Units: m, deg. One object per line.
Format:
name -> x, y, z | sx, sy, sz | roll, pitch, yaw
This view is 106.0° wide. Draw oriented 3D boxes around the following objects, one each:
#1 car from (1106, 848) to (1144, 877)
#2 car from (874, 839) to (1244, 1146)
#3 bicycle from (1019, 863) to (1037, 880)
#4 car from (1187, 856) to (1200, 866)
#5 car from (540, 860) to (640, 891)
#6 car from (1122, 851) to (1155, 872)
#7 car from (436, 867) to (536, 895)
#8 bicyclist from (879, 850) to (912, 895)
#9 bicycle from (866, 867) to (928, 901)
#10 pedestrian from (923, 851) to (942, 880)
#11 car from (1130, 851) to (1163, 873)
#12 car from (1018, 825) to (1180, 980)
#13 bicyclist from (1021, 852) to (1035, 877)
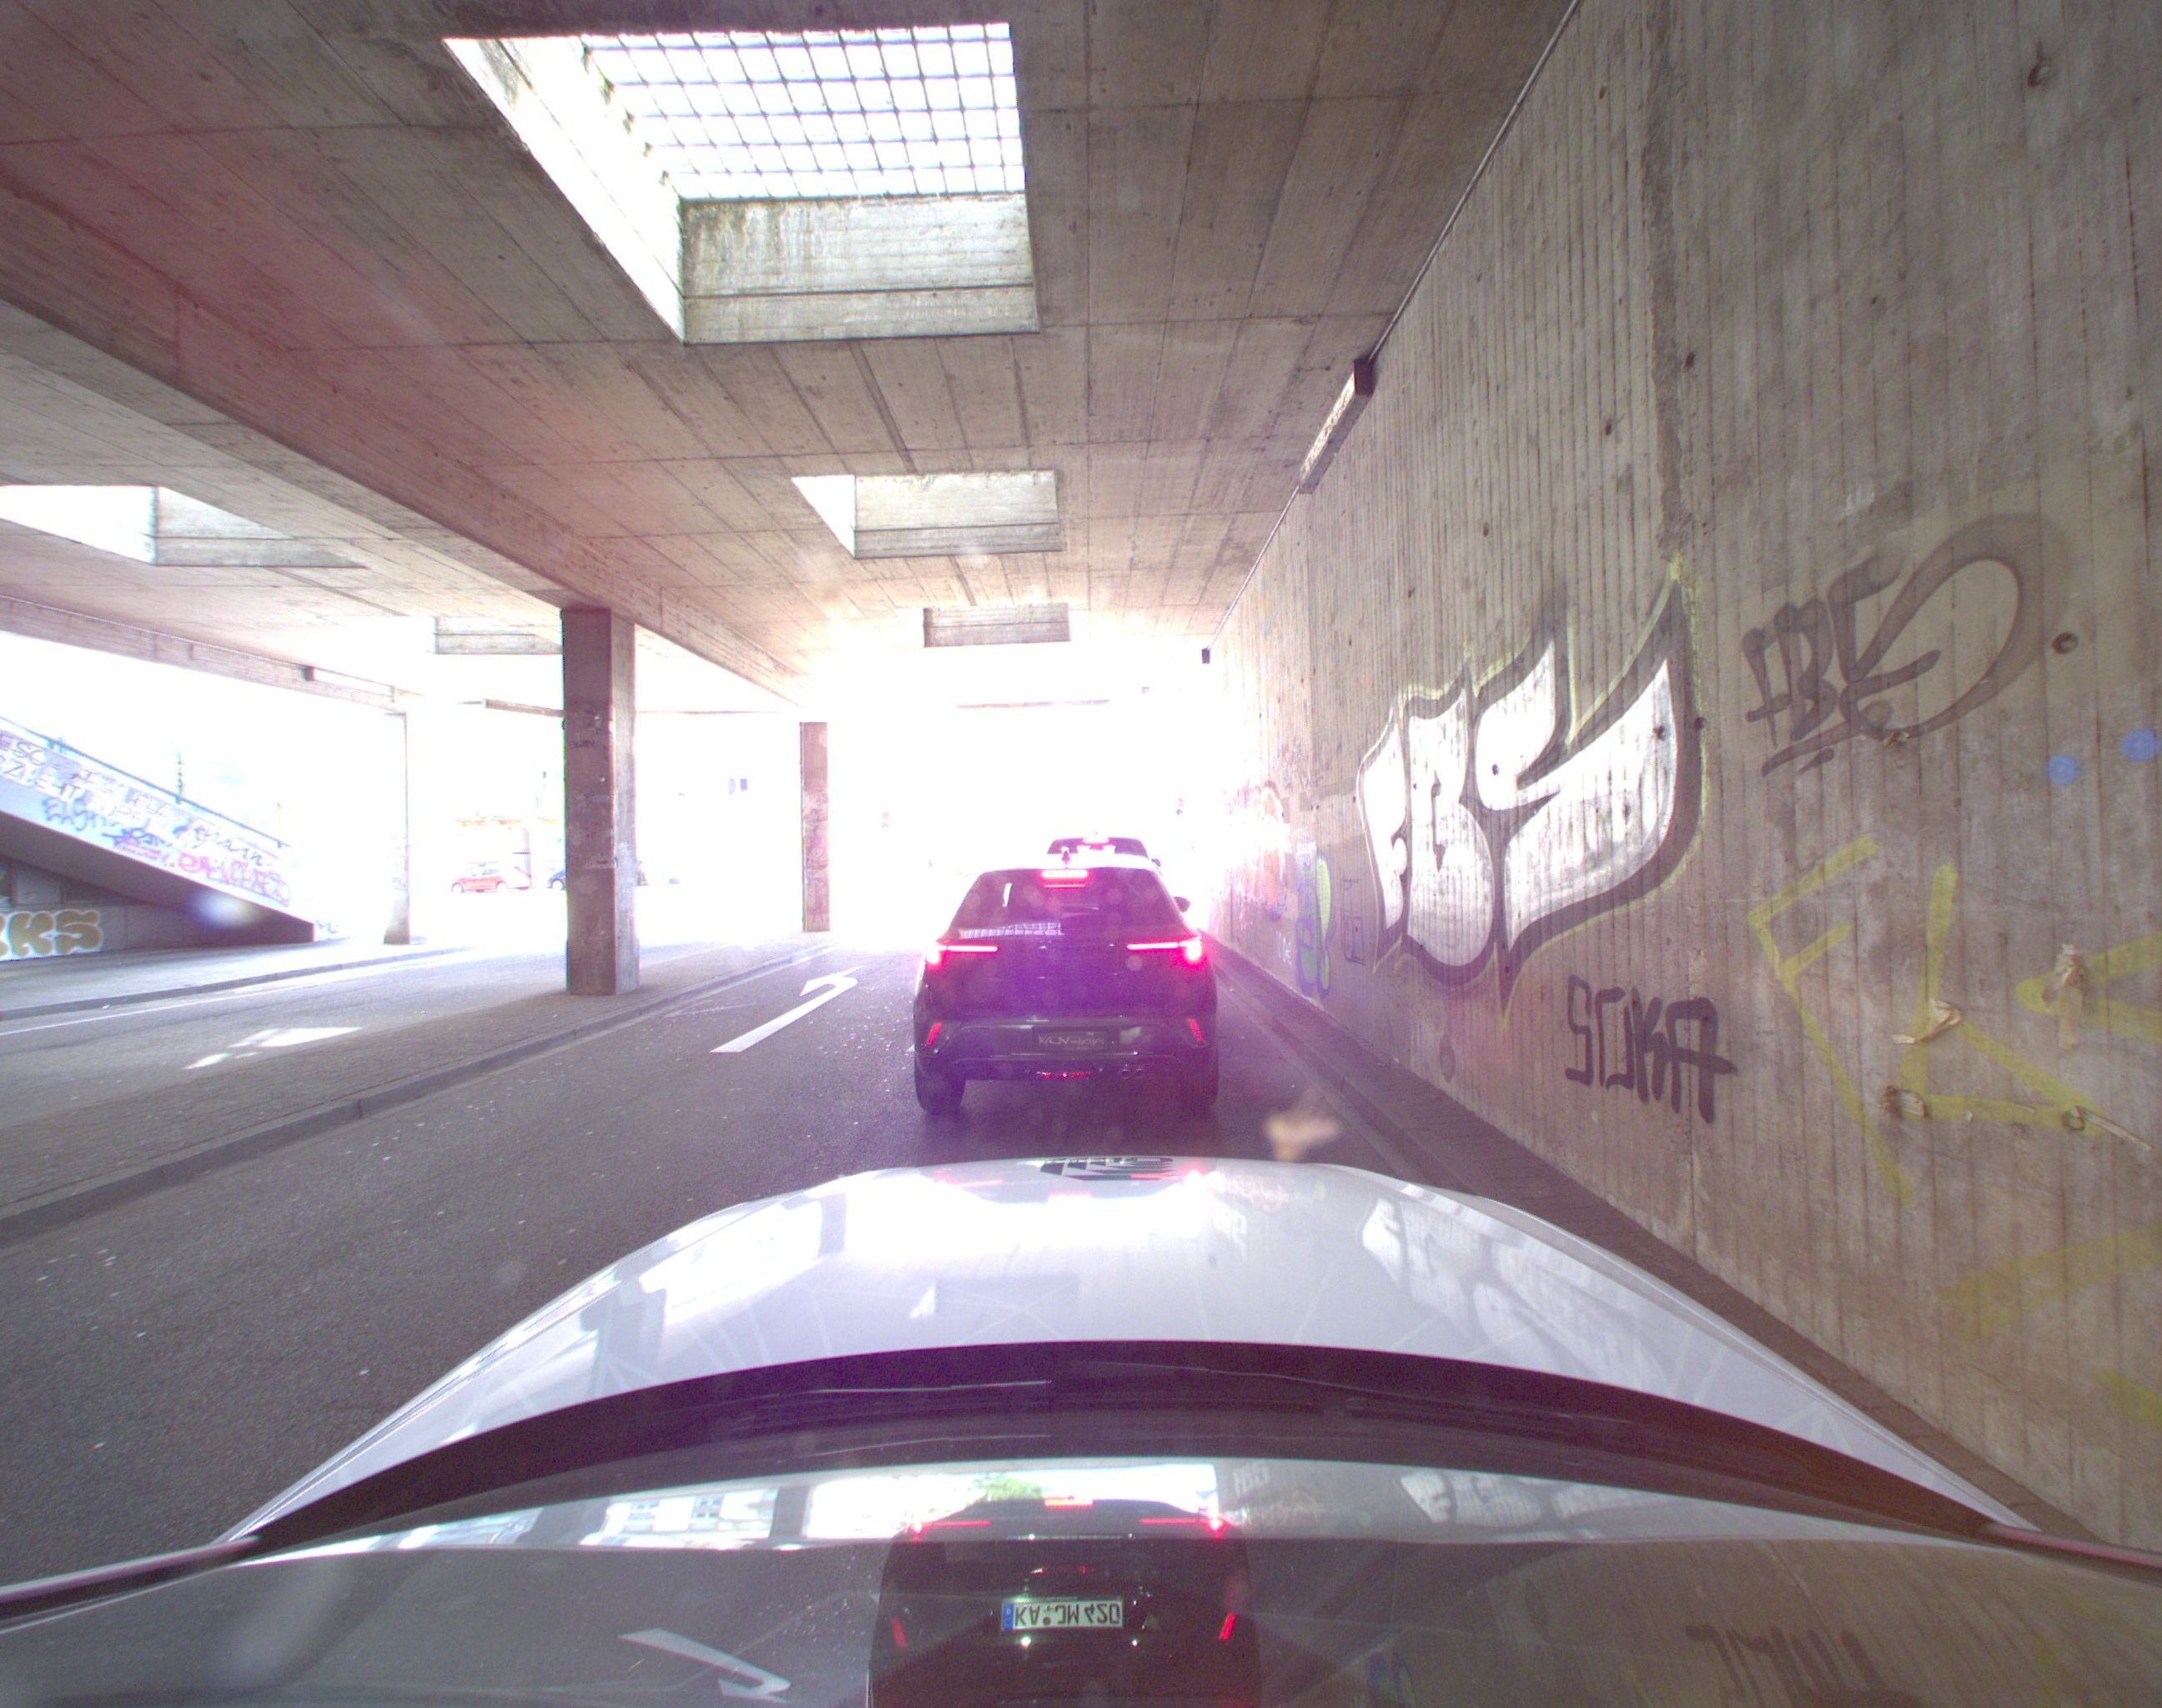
car -> 2.413, 0.500, 44.275 | 1.959, 1.497, 3.900 | -2, -2, 4
car -> -0.053, 0.715, 6.197 | 1.875, 1.538, 3.966 | -2, 0, 2
bicycle -> -3.382, 1.104, 51.754 | 0.727, 1.067, 1.694 | -1, -1, 11
car -> 18.976, 1.149, 136.864 | 1.981, 1.662, 4.012 | -1, -1, 11
car -> -27.203, 1.190, 45.256 | 4.114, 1.550, 2.268 | -2, 0, 1
car -> 4.415, 0.637, 62.260 | 1.955, 1.497, 3.908 | -2, -2, 11
car -> -33.007, 1.482, 45.257 | 3.970, 1.374, 2.192 | -2, 0, 3
bicyclist -> -6.219, 0.617, 27.325 | 0.867, 1.452, 0.745 | -2, 0, -1
bicycle -> -6.148, 0.994, 27.318 | 1.849, 1.008, 0.745 | -3, 0, -1
pedestrian -> -10.802, 0.836, 59.194 | 0.986, 2.013, 1.091 | -2, 0, 10
car -> 5.599, 0.681, 69.045 | 2.206, 1.719, 4.474 | -2, -2, 12
car -> 0.281, 0.597, 12.018 | 1.938, 1.860, 3.966 | -2, 0, 2
bicyclist -> -3.372, 0.646, 51.789 | 0.724, 1.581, 0.817 | -1, -1, 11
